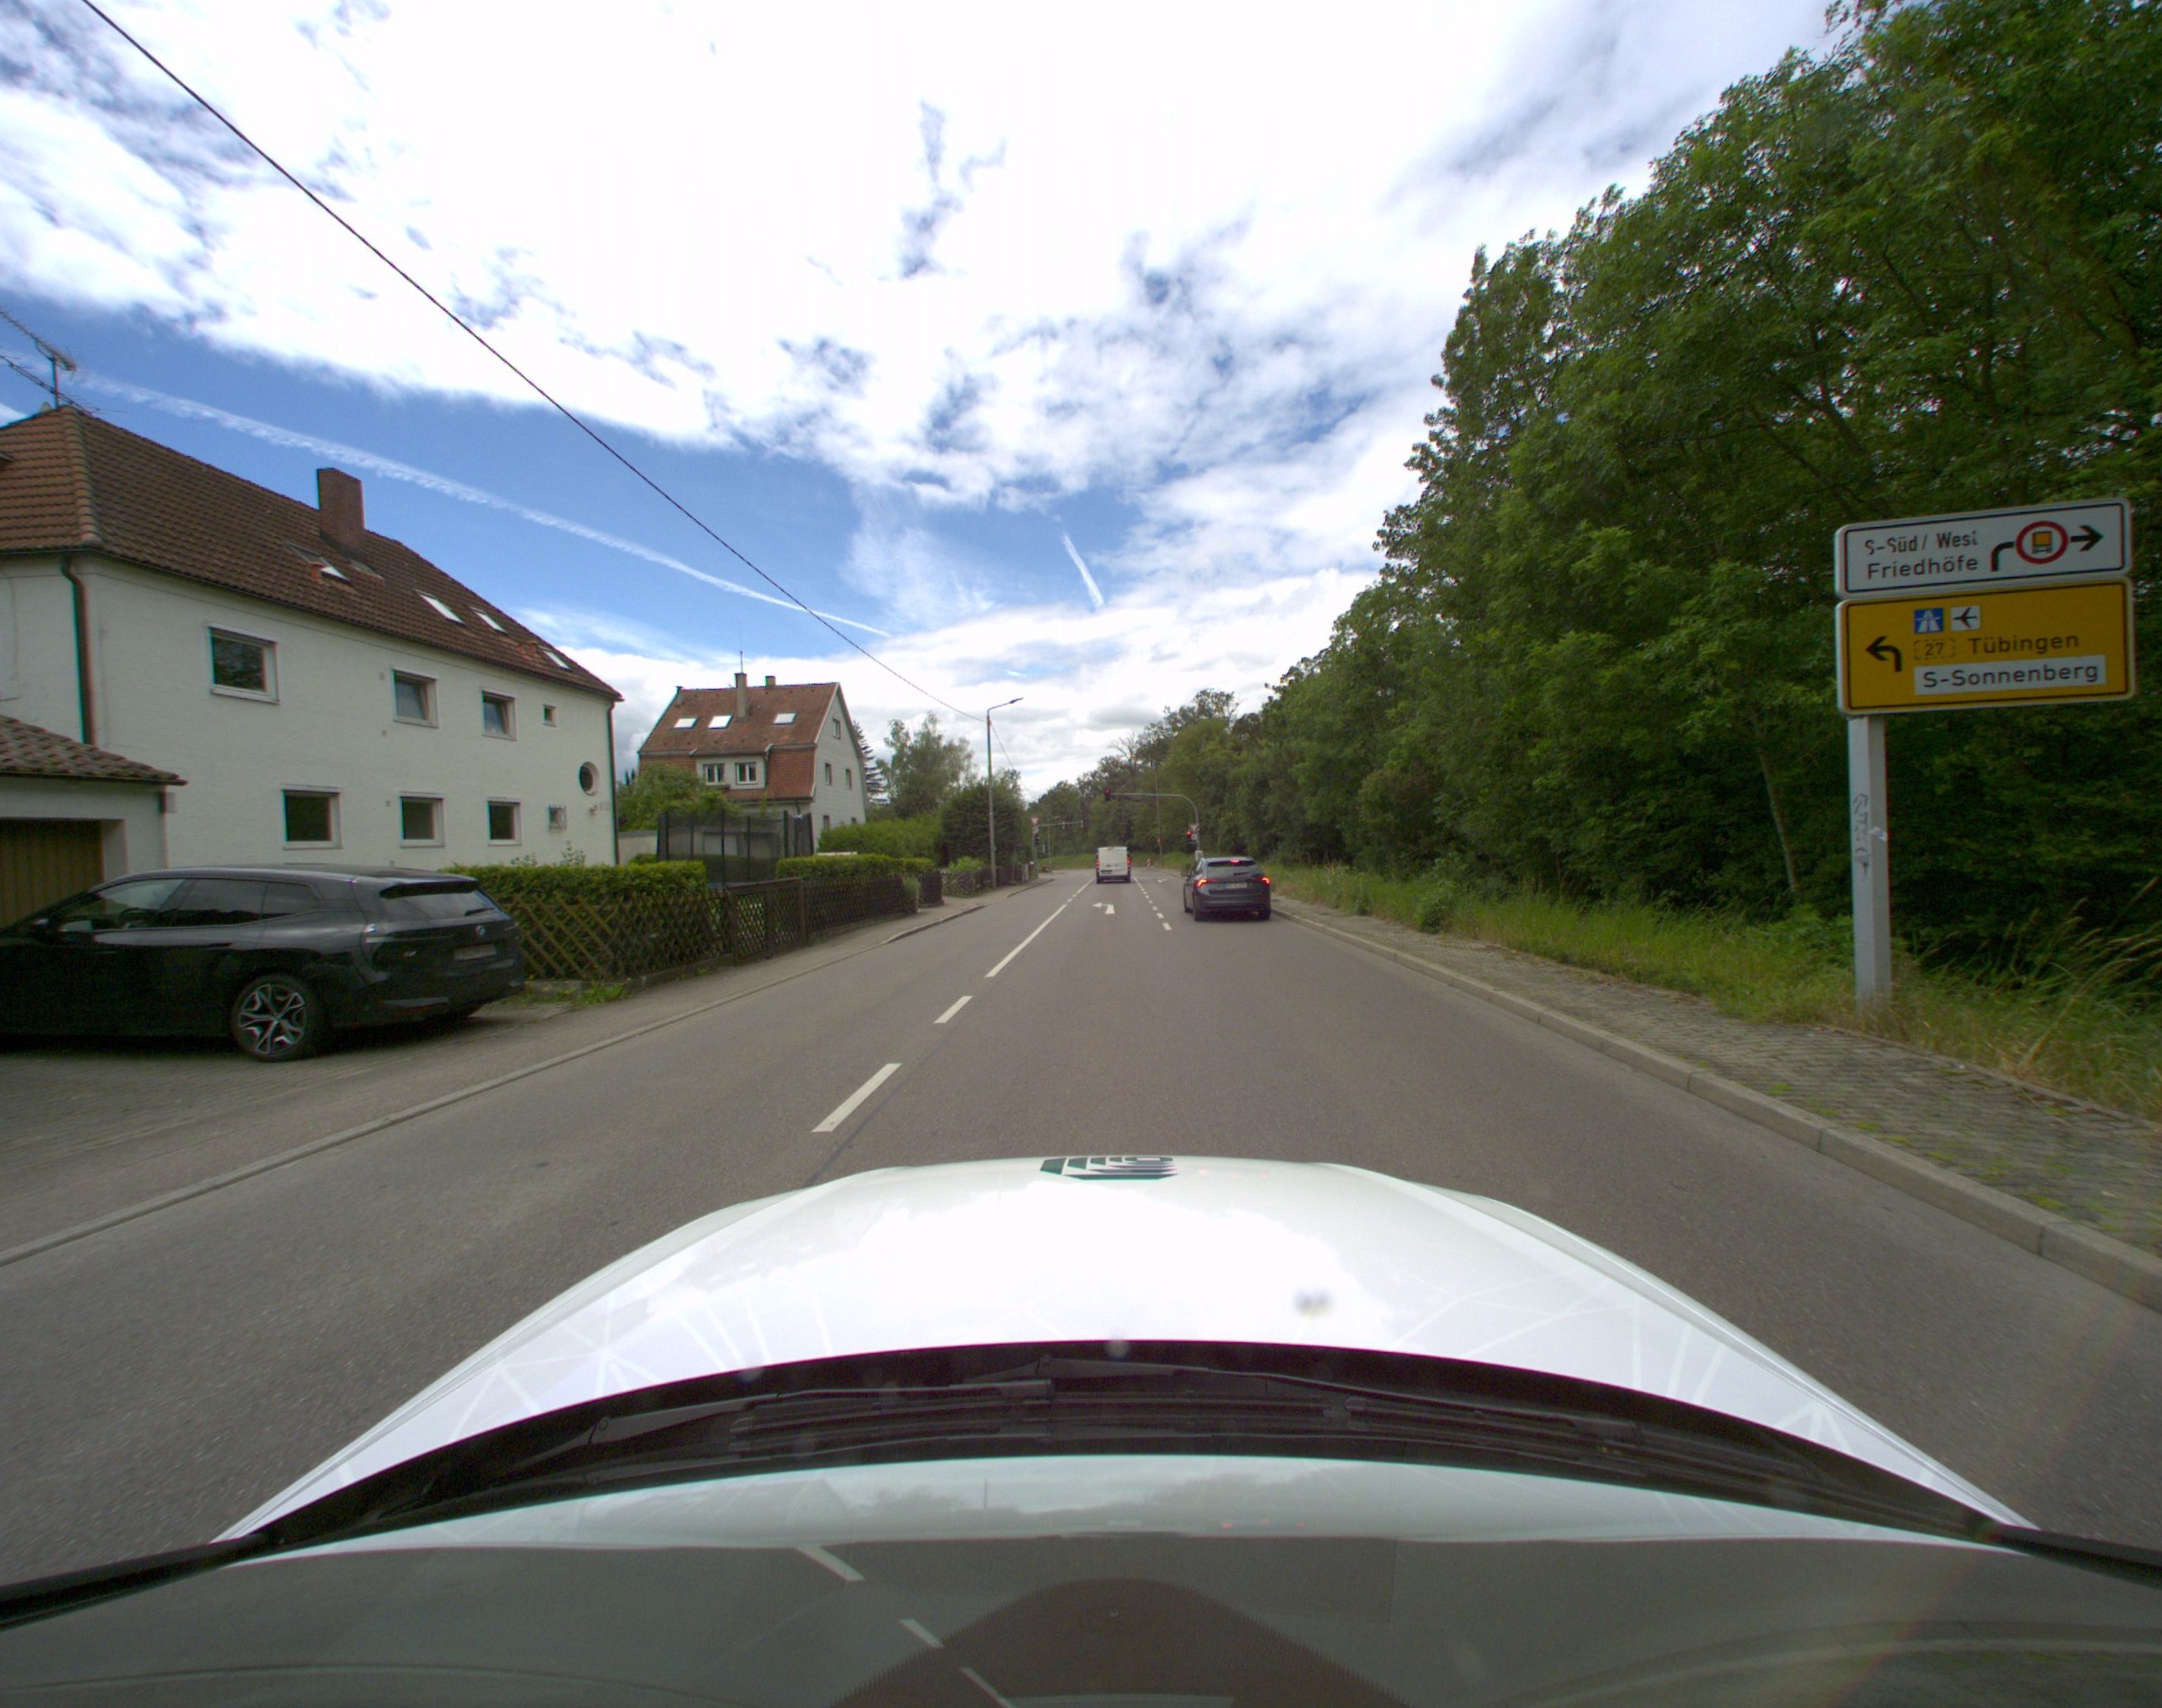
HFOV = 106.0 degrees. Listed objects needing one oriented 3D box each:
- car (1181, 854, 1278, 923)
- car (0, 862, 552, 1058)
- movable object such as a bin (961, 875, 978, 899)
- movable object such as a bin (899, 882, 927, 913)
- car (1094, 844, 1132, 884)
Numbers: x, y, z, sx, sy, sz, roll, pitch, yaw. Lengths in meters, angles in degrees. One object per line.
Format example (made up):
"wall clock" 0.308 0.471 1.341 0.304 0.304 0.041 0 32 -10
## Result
"car" 3.474 0.762 19.735 1.785 1.450 4.003 -2 0 3
"car" -8.121 0.924 7.946 4.654 1.669 1.883 0 -1 0
"movable object such as a bin" -4.656 1.379 34.101 0.548 0.938 0.538 -2 -1 4
"movable object such as a bin" -5.097 1.314 24.700 0.628 0.913 0.562 0 0 15
"car" 1.724 0.549 45.474 1.910 2.053 4.614 -2 0 0
